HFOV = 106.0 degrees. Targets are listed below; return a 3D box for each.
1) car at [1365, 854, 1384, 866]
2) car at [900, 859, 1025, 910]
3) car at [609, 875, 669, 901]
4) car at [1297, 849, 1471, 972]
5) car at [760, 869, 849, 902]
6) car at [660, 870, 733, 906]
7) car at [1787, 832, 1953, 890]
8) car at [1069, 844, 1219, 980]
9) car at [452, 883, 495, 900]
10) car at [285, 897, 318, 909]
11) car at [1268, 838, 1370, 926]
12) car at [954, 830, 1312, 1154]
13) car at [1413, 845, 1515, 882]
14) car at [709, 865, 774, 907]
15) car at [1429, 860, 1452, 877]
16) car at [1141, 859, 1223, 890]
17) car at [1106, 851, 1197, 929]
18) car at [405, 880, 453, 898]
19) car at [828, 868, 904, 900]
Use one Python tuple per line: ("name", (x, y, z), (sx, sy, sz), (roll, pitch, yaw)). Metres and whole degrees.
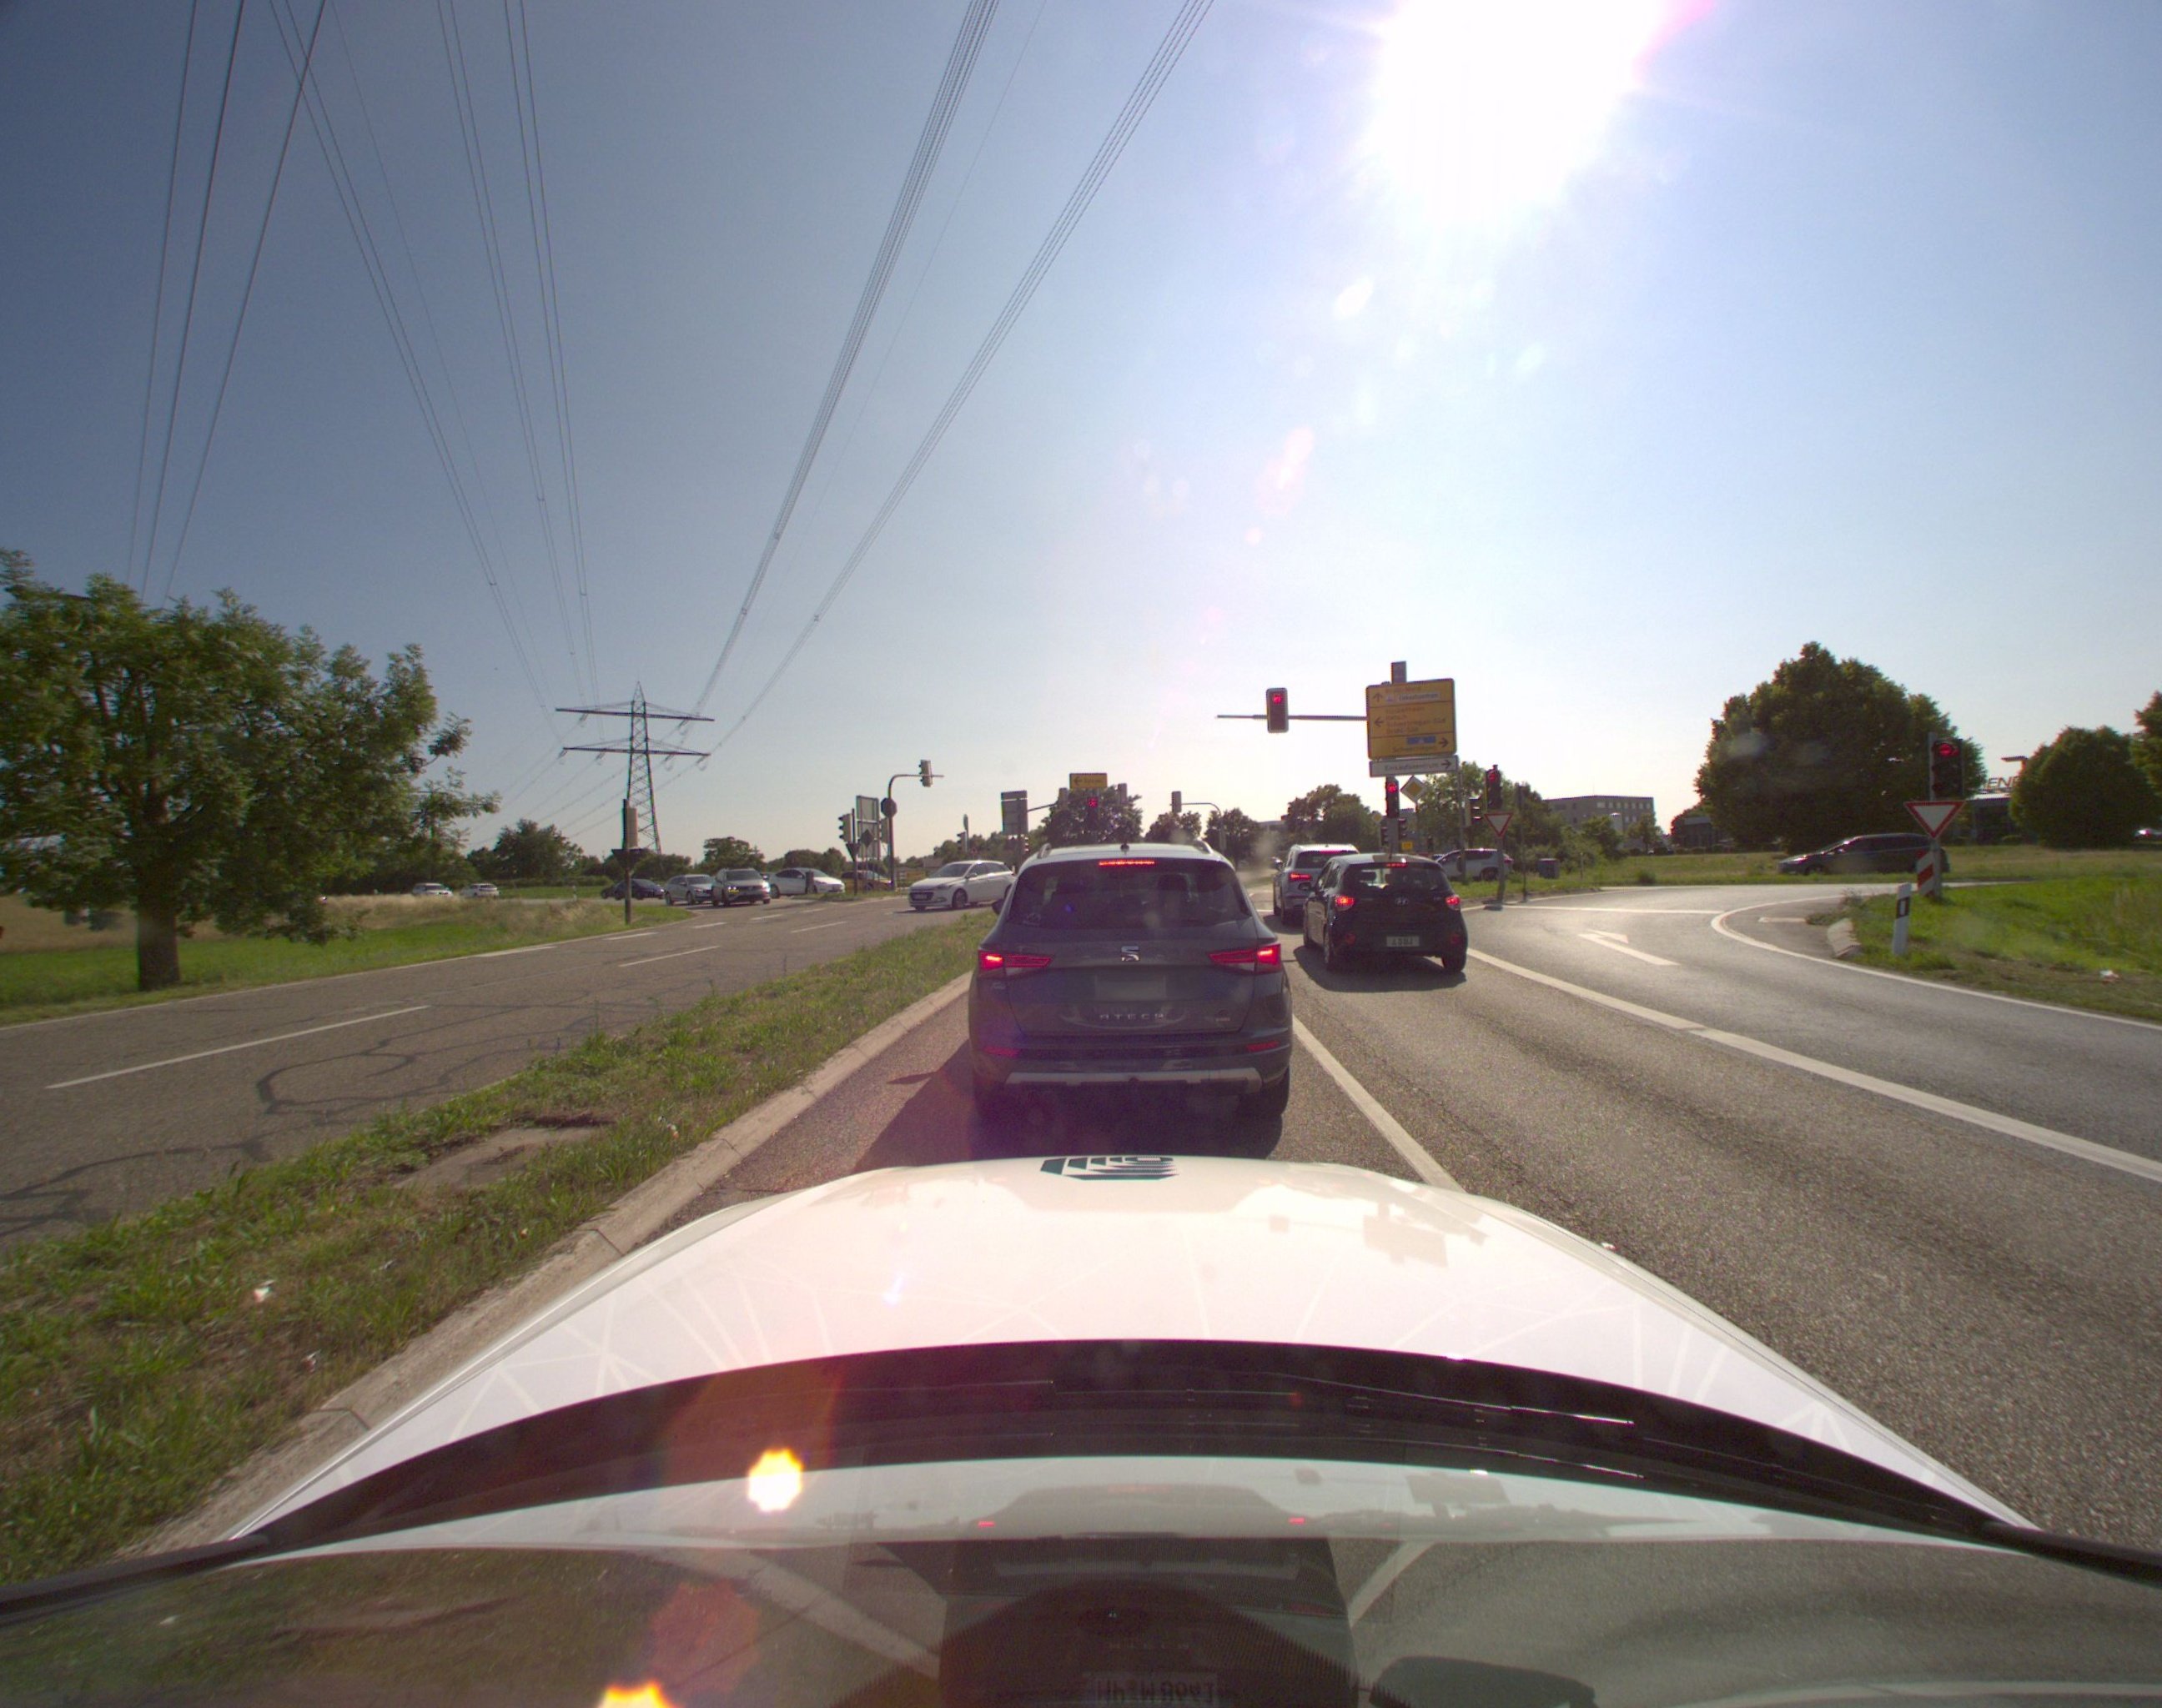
("car", (41.502, 0.894, 115.157), (1.859, 1.673, 3.793), (0, -1, 31))
("car", (-3.688, 0.917, 25.875), (1.701, 1.465, 3.937), (-2, -1, 34))
("car", (-30.733, 2.349, 56.576), (3.949, 1.651, 1.831), (-2, -1, 29))
("car", (4.045, 0.678, 11.364), (1.623, 1.448, 3.303), (-1, 0, 9))
("car", (-14.882, 1.694, 43.796), (4.700, 1.651, 1.831), (-1, -1, 29))
("car", (-19.028, 1.687, 40.249), (3.949, 1.651, 1.831), (-2, -1, 42))
("car", (28.372, 0.293, 29.473), (3.968, 1.953, 1.707), (-2, -1, 32))
("car", (0.819, 0.688, 11.253), (1.735, 1.569, 3.626), (0, -1, 3))
("car", (-58.273, 3.597, 78.125), (3.831, 1.519, 1.818), (-2, -1, 27))
("car", (-93.883, 5.897, 98.100), (4.051, 1.416, 1.727), (-2, -1, 29))
("car", (5.013, 0.554, 17.576), (1.623, 1.677, 3.758), (-1, 0, 9))
("car", (0.309, 0.688, 5.775), (1.735, 1.569, 3.625), (0, -1, 2))
("car", (17.172, 0.417, 36.536), (3.986, 1.519, 1.818), (-2, -1, 27))
("car", (-14.597, 1.347, 34.916), (1.827, 1.651, 3.958), (-1, -1, -34))
("car", (35.840, 1.453, 81.086), (1.859, 1.673, 3.792), (0, -1, 27))
("car", (5.324, 1.073, 42.913), (3.832, 1.519, 1.818), (-2, -1, 25))
("car", (1.570, 0.709, 17.361), (1.732, 1.484, 3.631), (0, -1, 7))
("car", (-57.511, 3.067, 71.847), (3.949, 1.485, 1.831), (0, 1, 28))
("car", (-12.124, 1.694, 45.988), (3.949, 1.651, 1.831), (-2, -1, 29))
